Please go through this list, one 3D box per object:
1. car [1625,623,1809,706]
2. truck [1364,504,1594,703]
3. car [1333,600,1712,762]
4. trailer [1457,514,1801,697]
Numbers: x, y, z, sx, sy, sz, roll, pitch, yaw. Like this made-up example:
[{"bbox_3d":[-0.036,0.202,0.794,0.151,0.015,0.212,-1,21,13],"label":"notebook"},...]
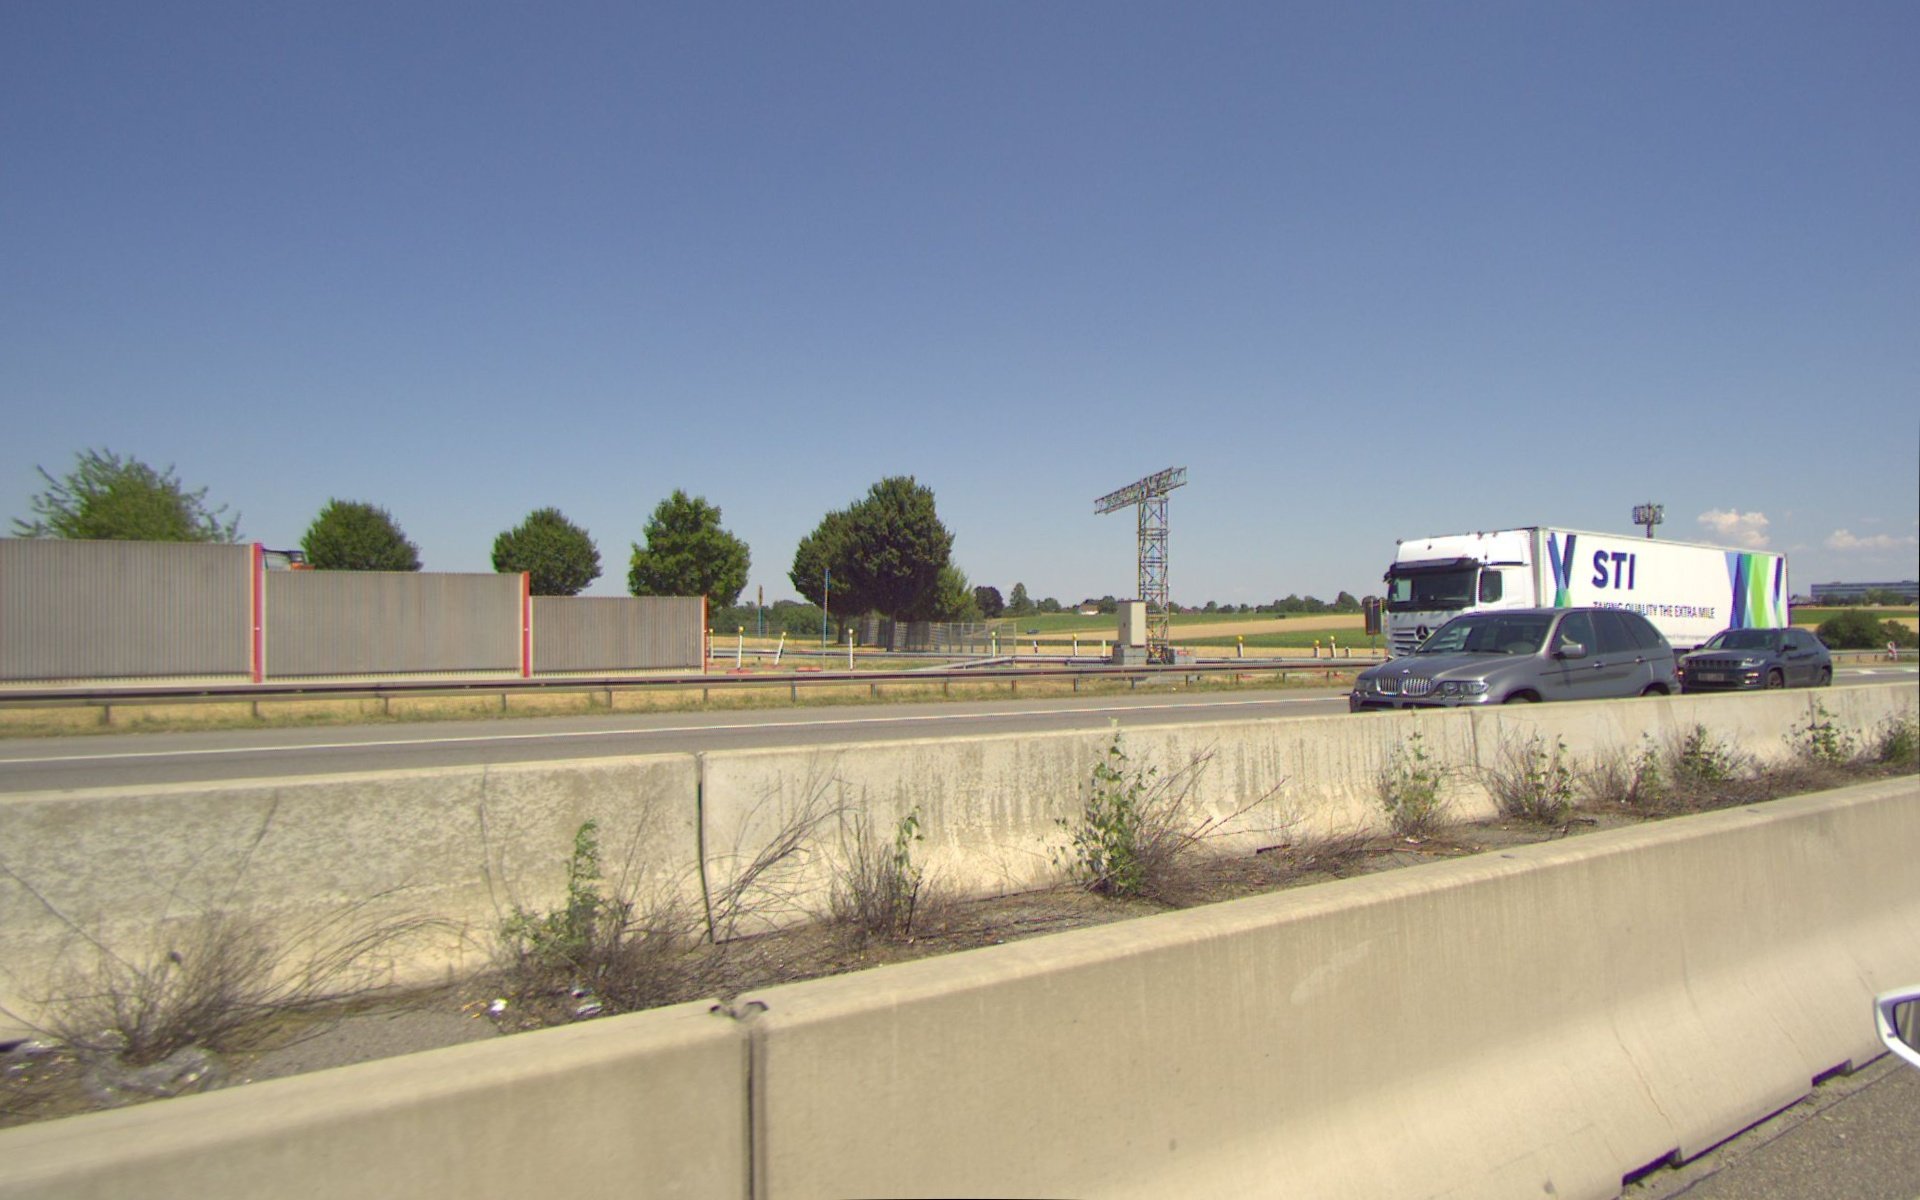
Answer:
[{"bbox_3d":[16.911,1.371,22.384,4.610,1.673,1.647,1,-1,-30],"label":"car"},{"bbox_3d":[12.836,0.177,24.864,4.846,4.432,2.857,1,-3,-31],"label":"truck"},{"bbox_3d":[6.890,0.873,12.165,4.765,1.638,1.881,2,-1,-31],"label":"car"},{"bbox_3d":[19.523,0.312,28.822,12.842,4.432,2.879,1,-3,-31],"label":"trailer"}]
